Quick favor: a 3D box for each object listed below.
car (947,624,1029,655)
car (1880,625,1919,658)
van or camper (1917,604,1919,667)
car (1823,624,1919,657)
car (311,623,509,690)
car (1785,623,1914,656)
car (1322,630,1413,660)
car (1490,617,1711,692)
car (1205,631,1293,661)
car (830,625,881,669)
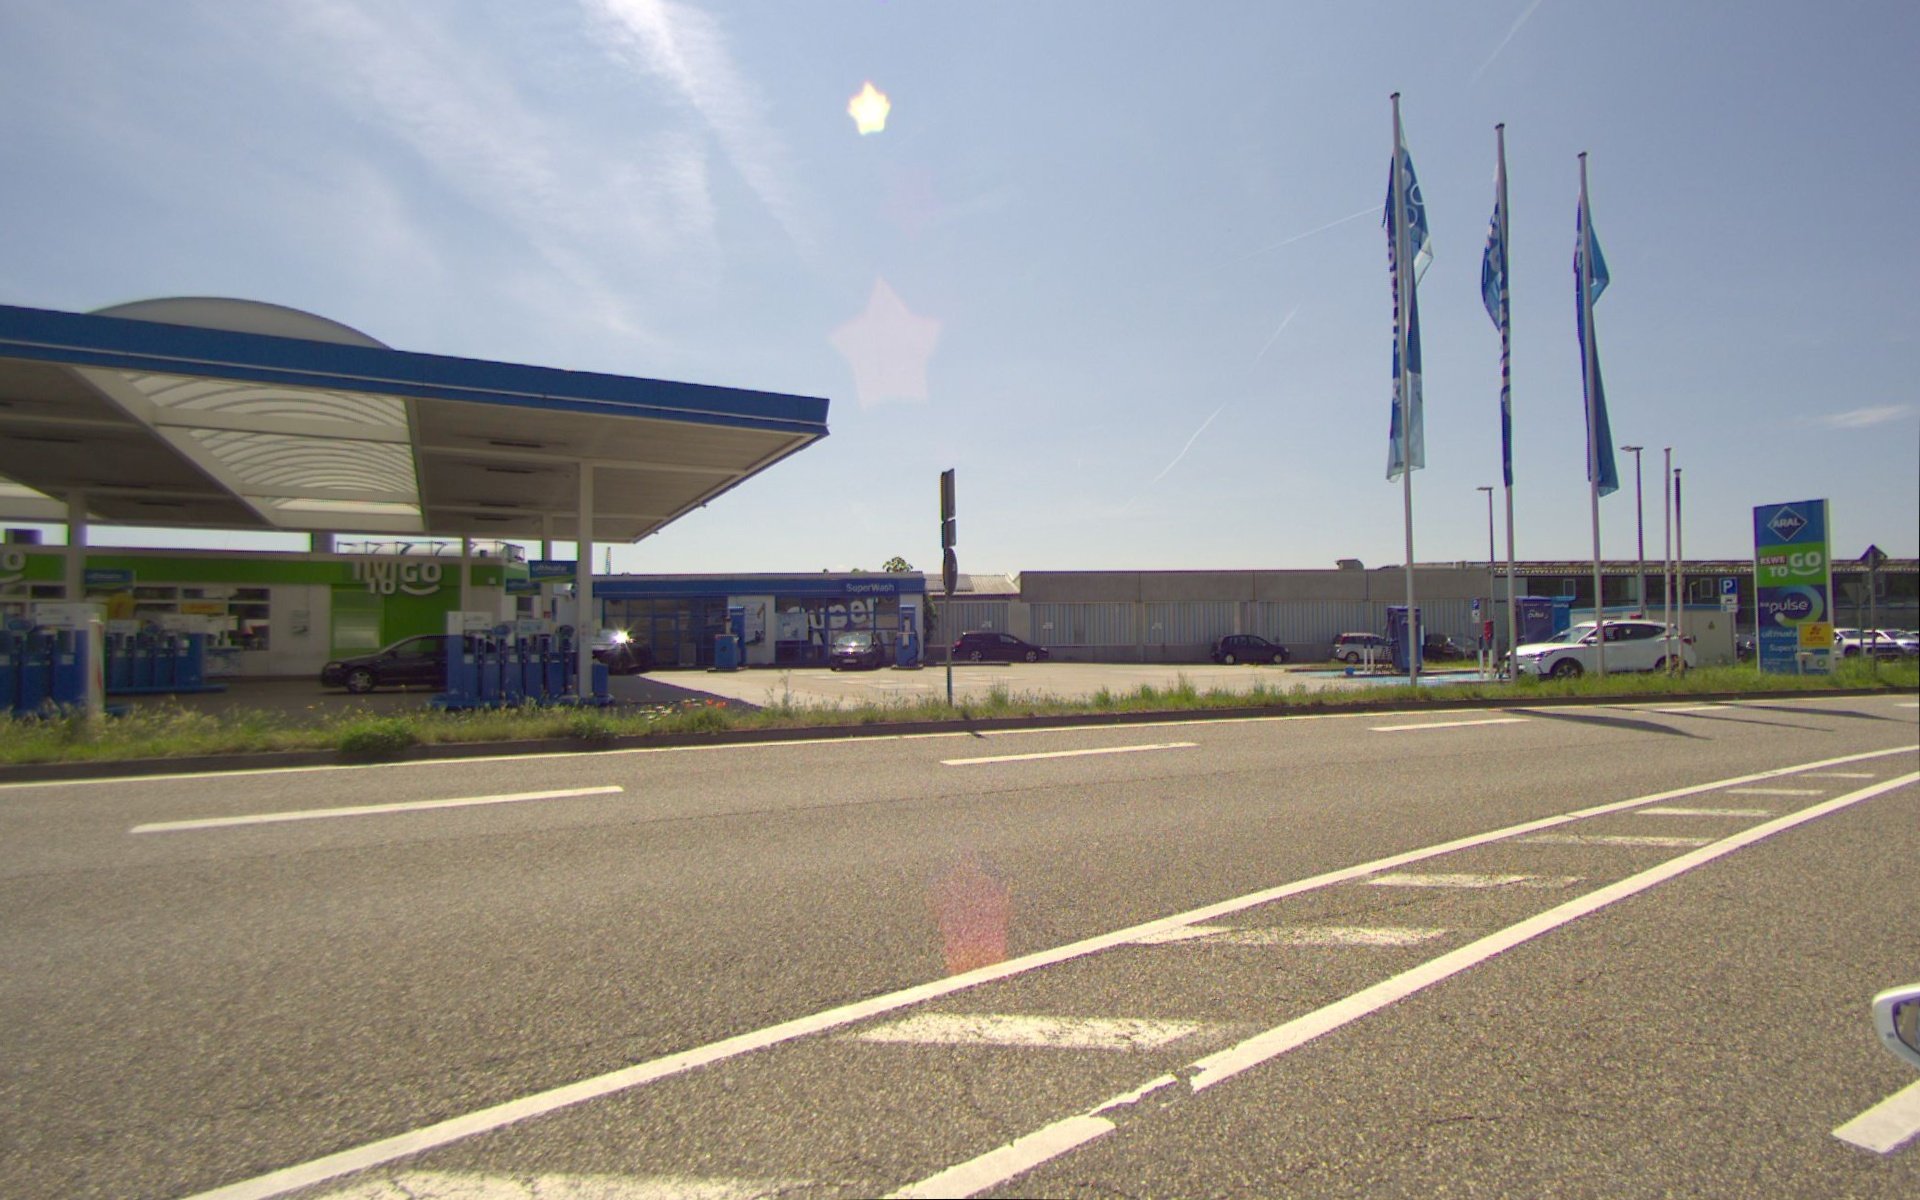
[{"bbox_3d":[1.336,1.895,48.471,3.824,1.461,1.759,0,-1,-3],"label":"car"},{"bbox_3d":[47.433,2.017,48.769,1.783,1.603,3.999,1,-1,-2],"label":"car"},{"bbox_3d":[31.298,1.101,29.094,1.880,1.930,4.829,2,-1,-27],"label":"van or camper"},{"bbox_3d":[44.946,1.990,48.978,1.962,1.523,4.136,0,-2,-4],"label":"car"},{"bbox_3d":[-13.237,1.405,24.422,4.055,1.496,1.597,2,-6,-28],"label":"car"},{"bbox_3d":[42.735,1.919,48.425,1.962,1.523,4.593,0,-2,-4],"label":"car"},{"bbox_3d":[20.130,2.217,49.719,3.822,1.461,1.760,0,-1,2],"label":"car"},{"bbox_3d":[16.360,1.357,25.835,4.428,1.735,1.869,1,-1,3],"label":"car"},{"bbox_3d":[14.260,2.256,49.659,3.824,1.461,1.759,0,-1,-3],"label":"car"},{"bbox_3d":[-4.125,1.813,39.590,1.910,1.628,3.997,0,-1,-6],"label":"car"}]
